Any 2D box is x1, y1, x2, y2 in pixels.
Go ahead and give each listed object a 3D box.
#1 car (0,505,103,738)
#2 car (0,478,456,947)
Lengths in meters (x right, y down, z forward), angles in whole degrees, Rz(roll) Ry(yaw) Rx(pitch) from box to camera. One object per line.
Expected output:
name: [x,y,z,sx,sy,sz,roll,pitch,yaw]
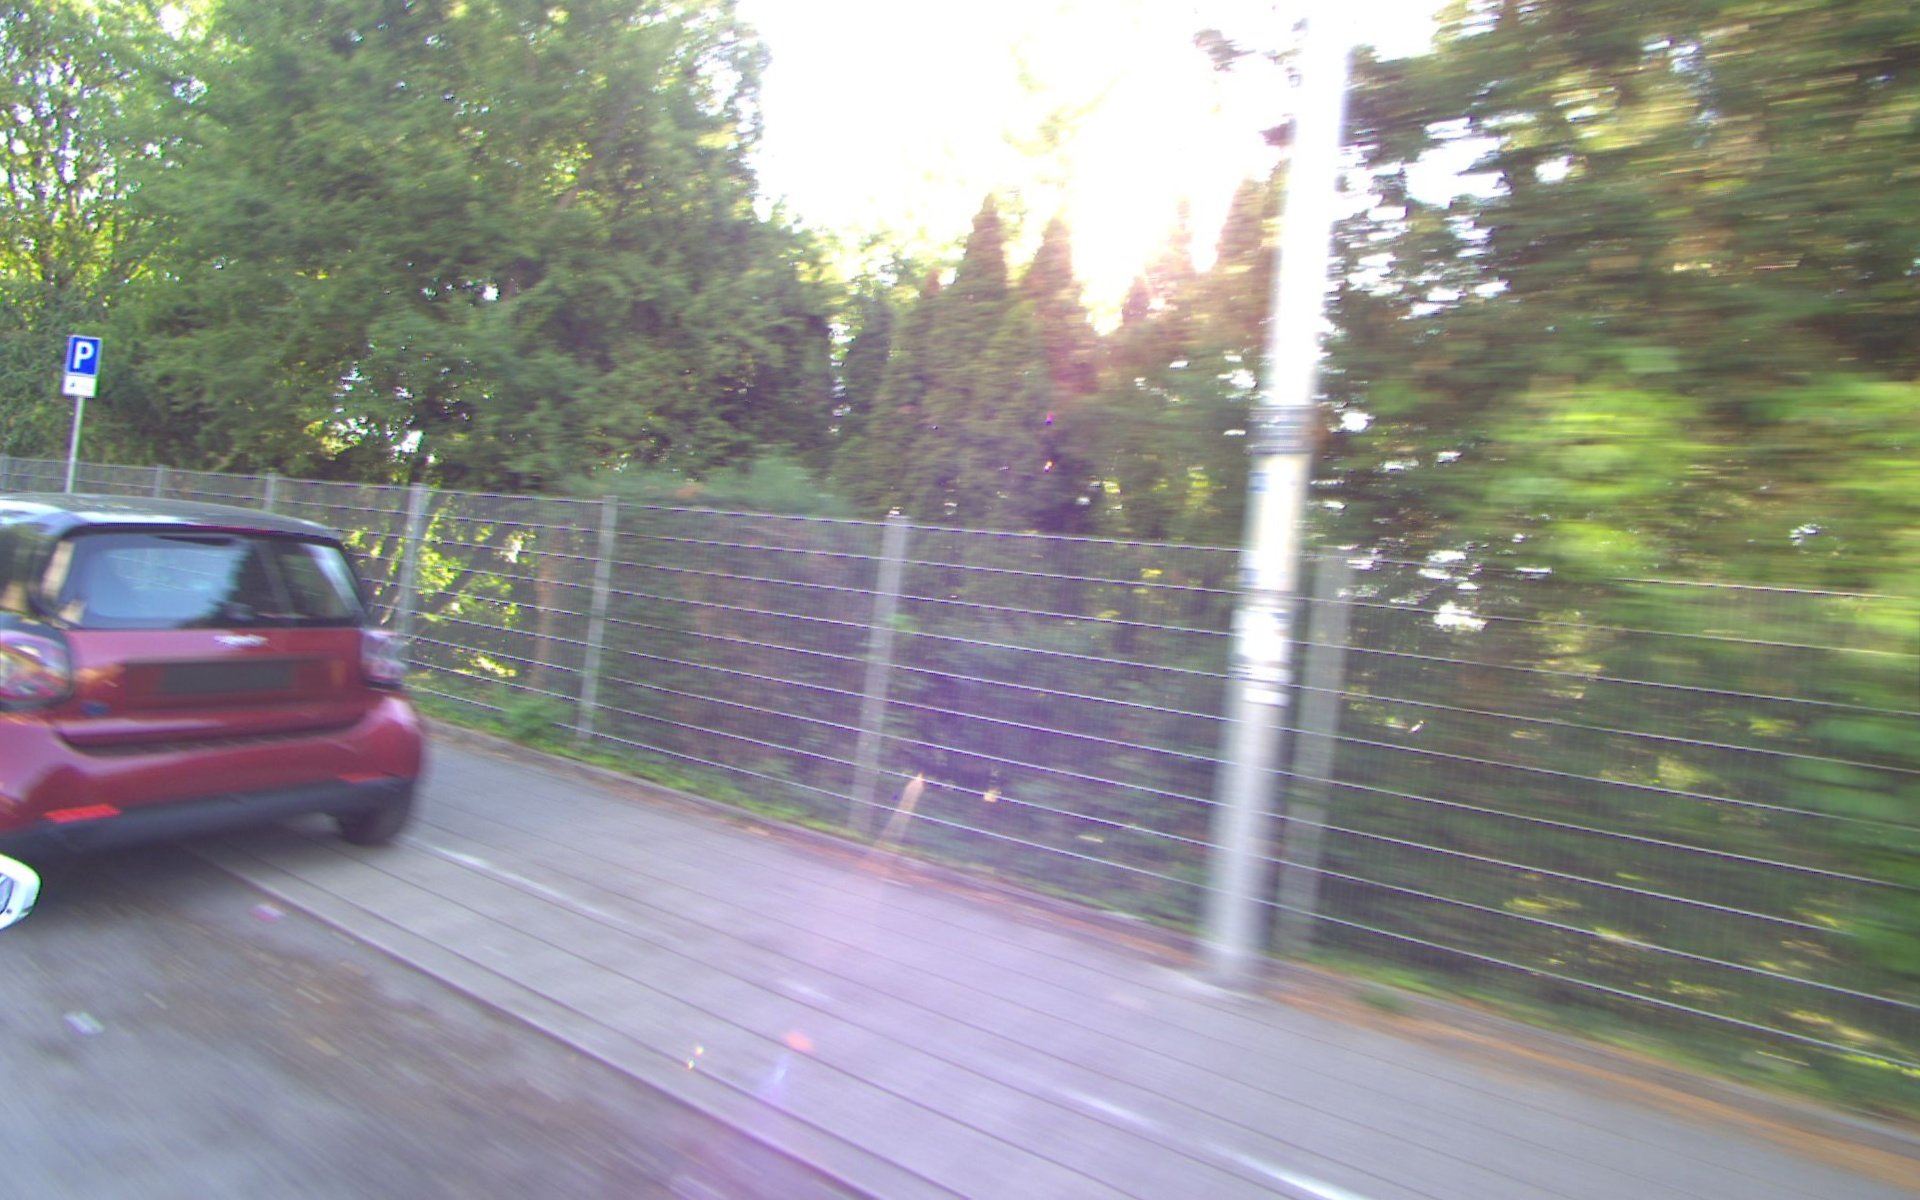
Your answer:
car: [-8.455,-0.121,7.534,4.736,1.514,1.714,6,-3,33]
car: [-3.987,0.277,4.743,2.826,1.586,1.652,6,3,33]
